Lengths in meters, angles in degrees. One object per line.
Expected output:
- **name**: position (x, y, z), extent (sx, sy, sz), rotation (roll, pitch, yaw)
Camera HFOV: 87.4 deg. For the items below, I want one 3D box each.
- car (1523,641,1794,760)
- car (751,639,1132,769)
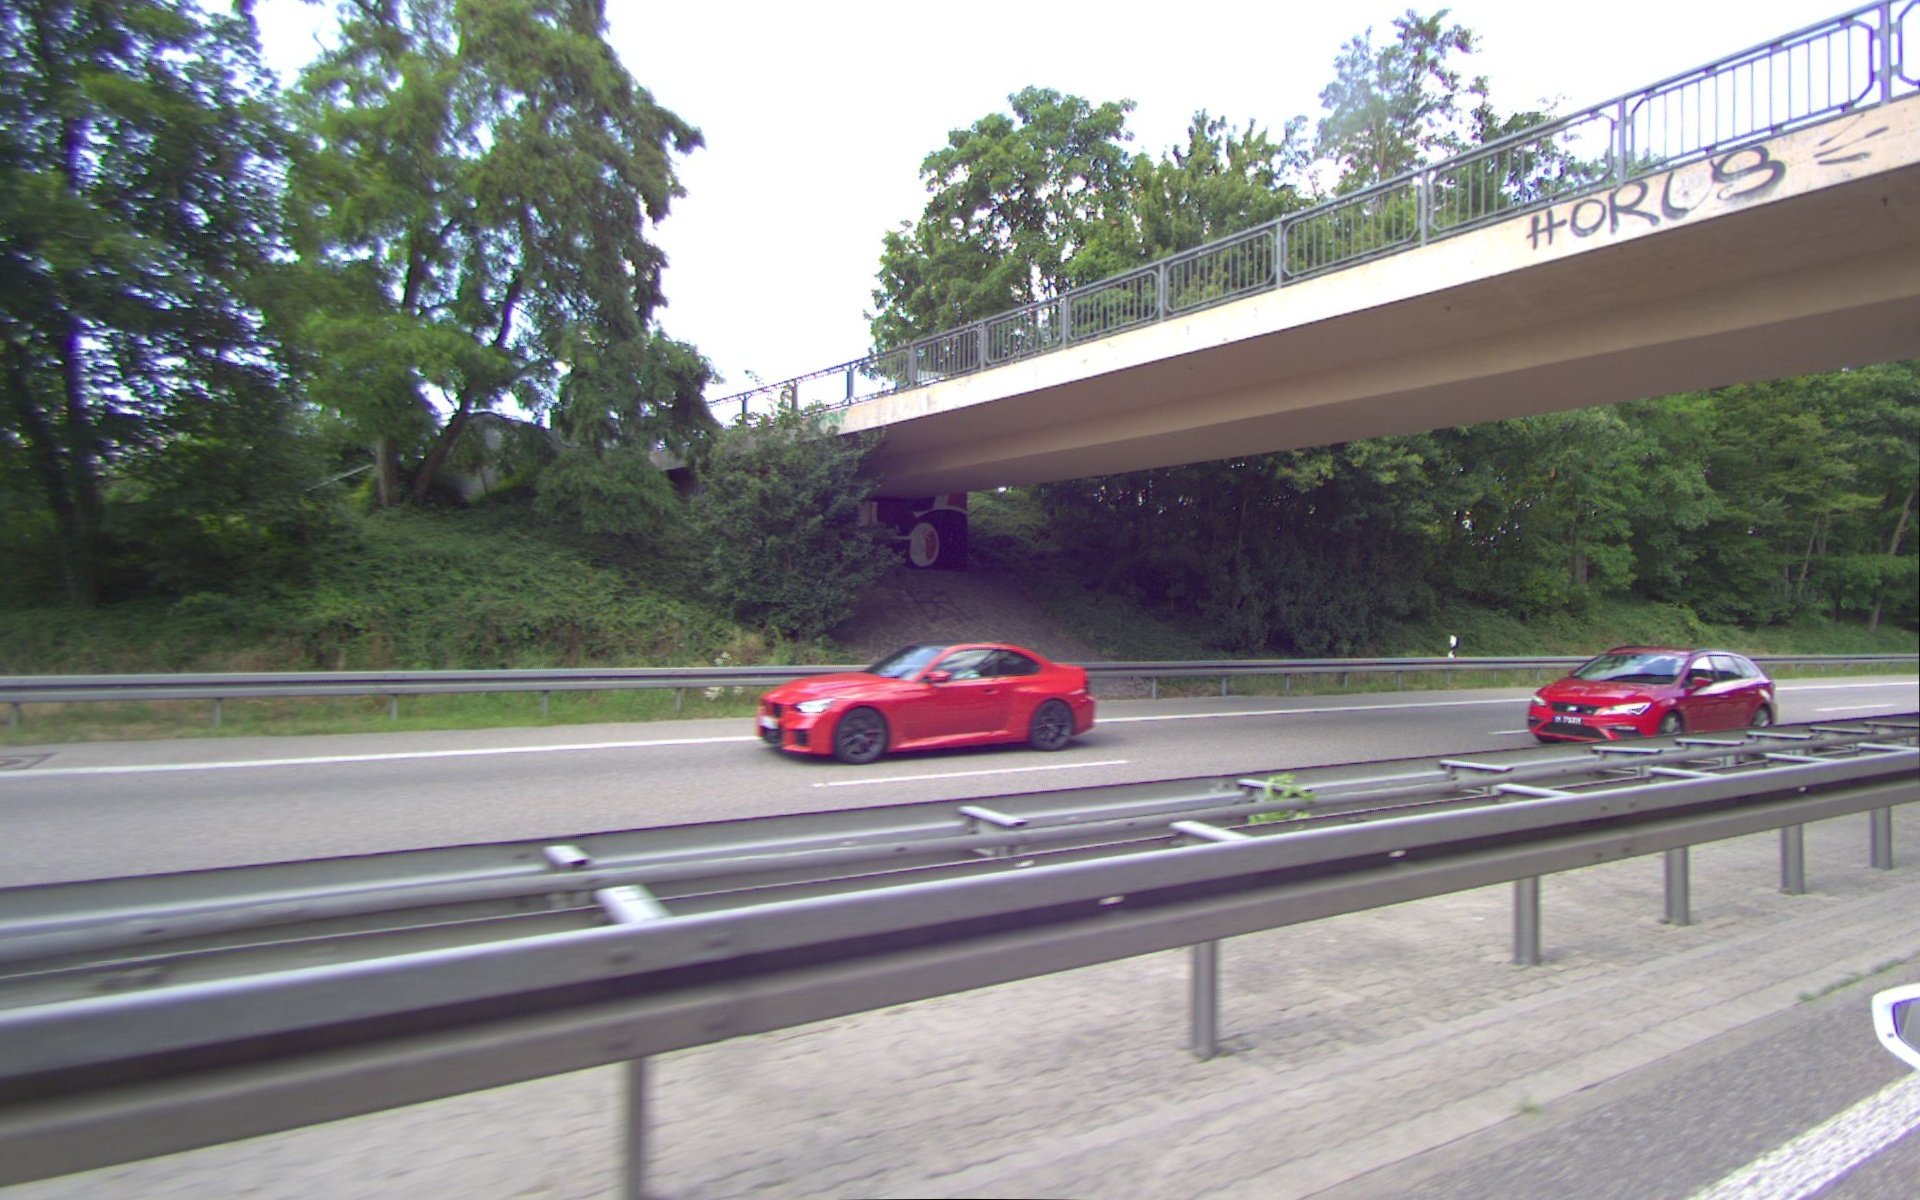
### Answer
- **car**: position (10.440, 1.387, 14.934), extent (4.386, 1.496, 1.677), rotation (1, -2, -31)
- **car**: position (-0.162, 1.239, 13.231), extent (4.750, 1.396, 1.855), rotation (1, -2, -31)
